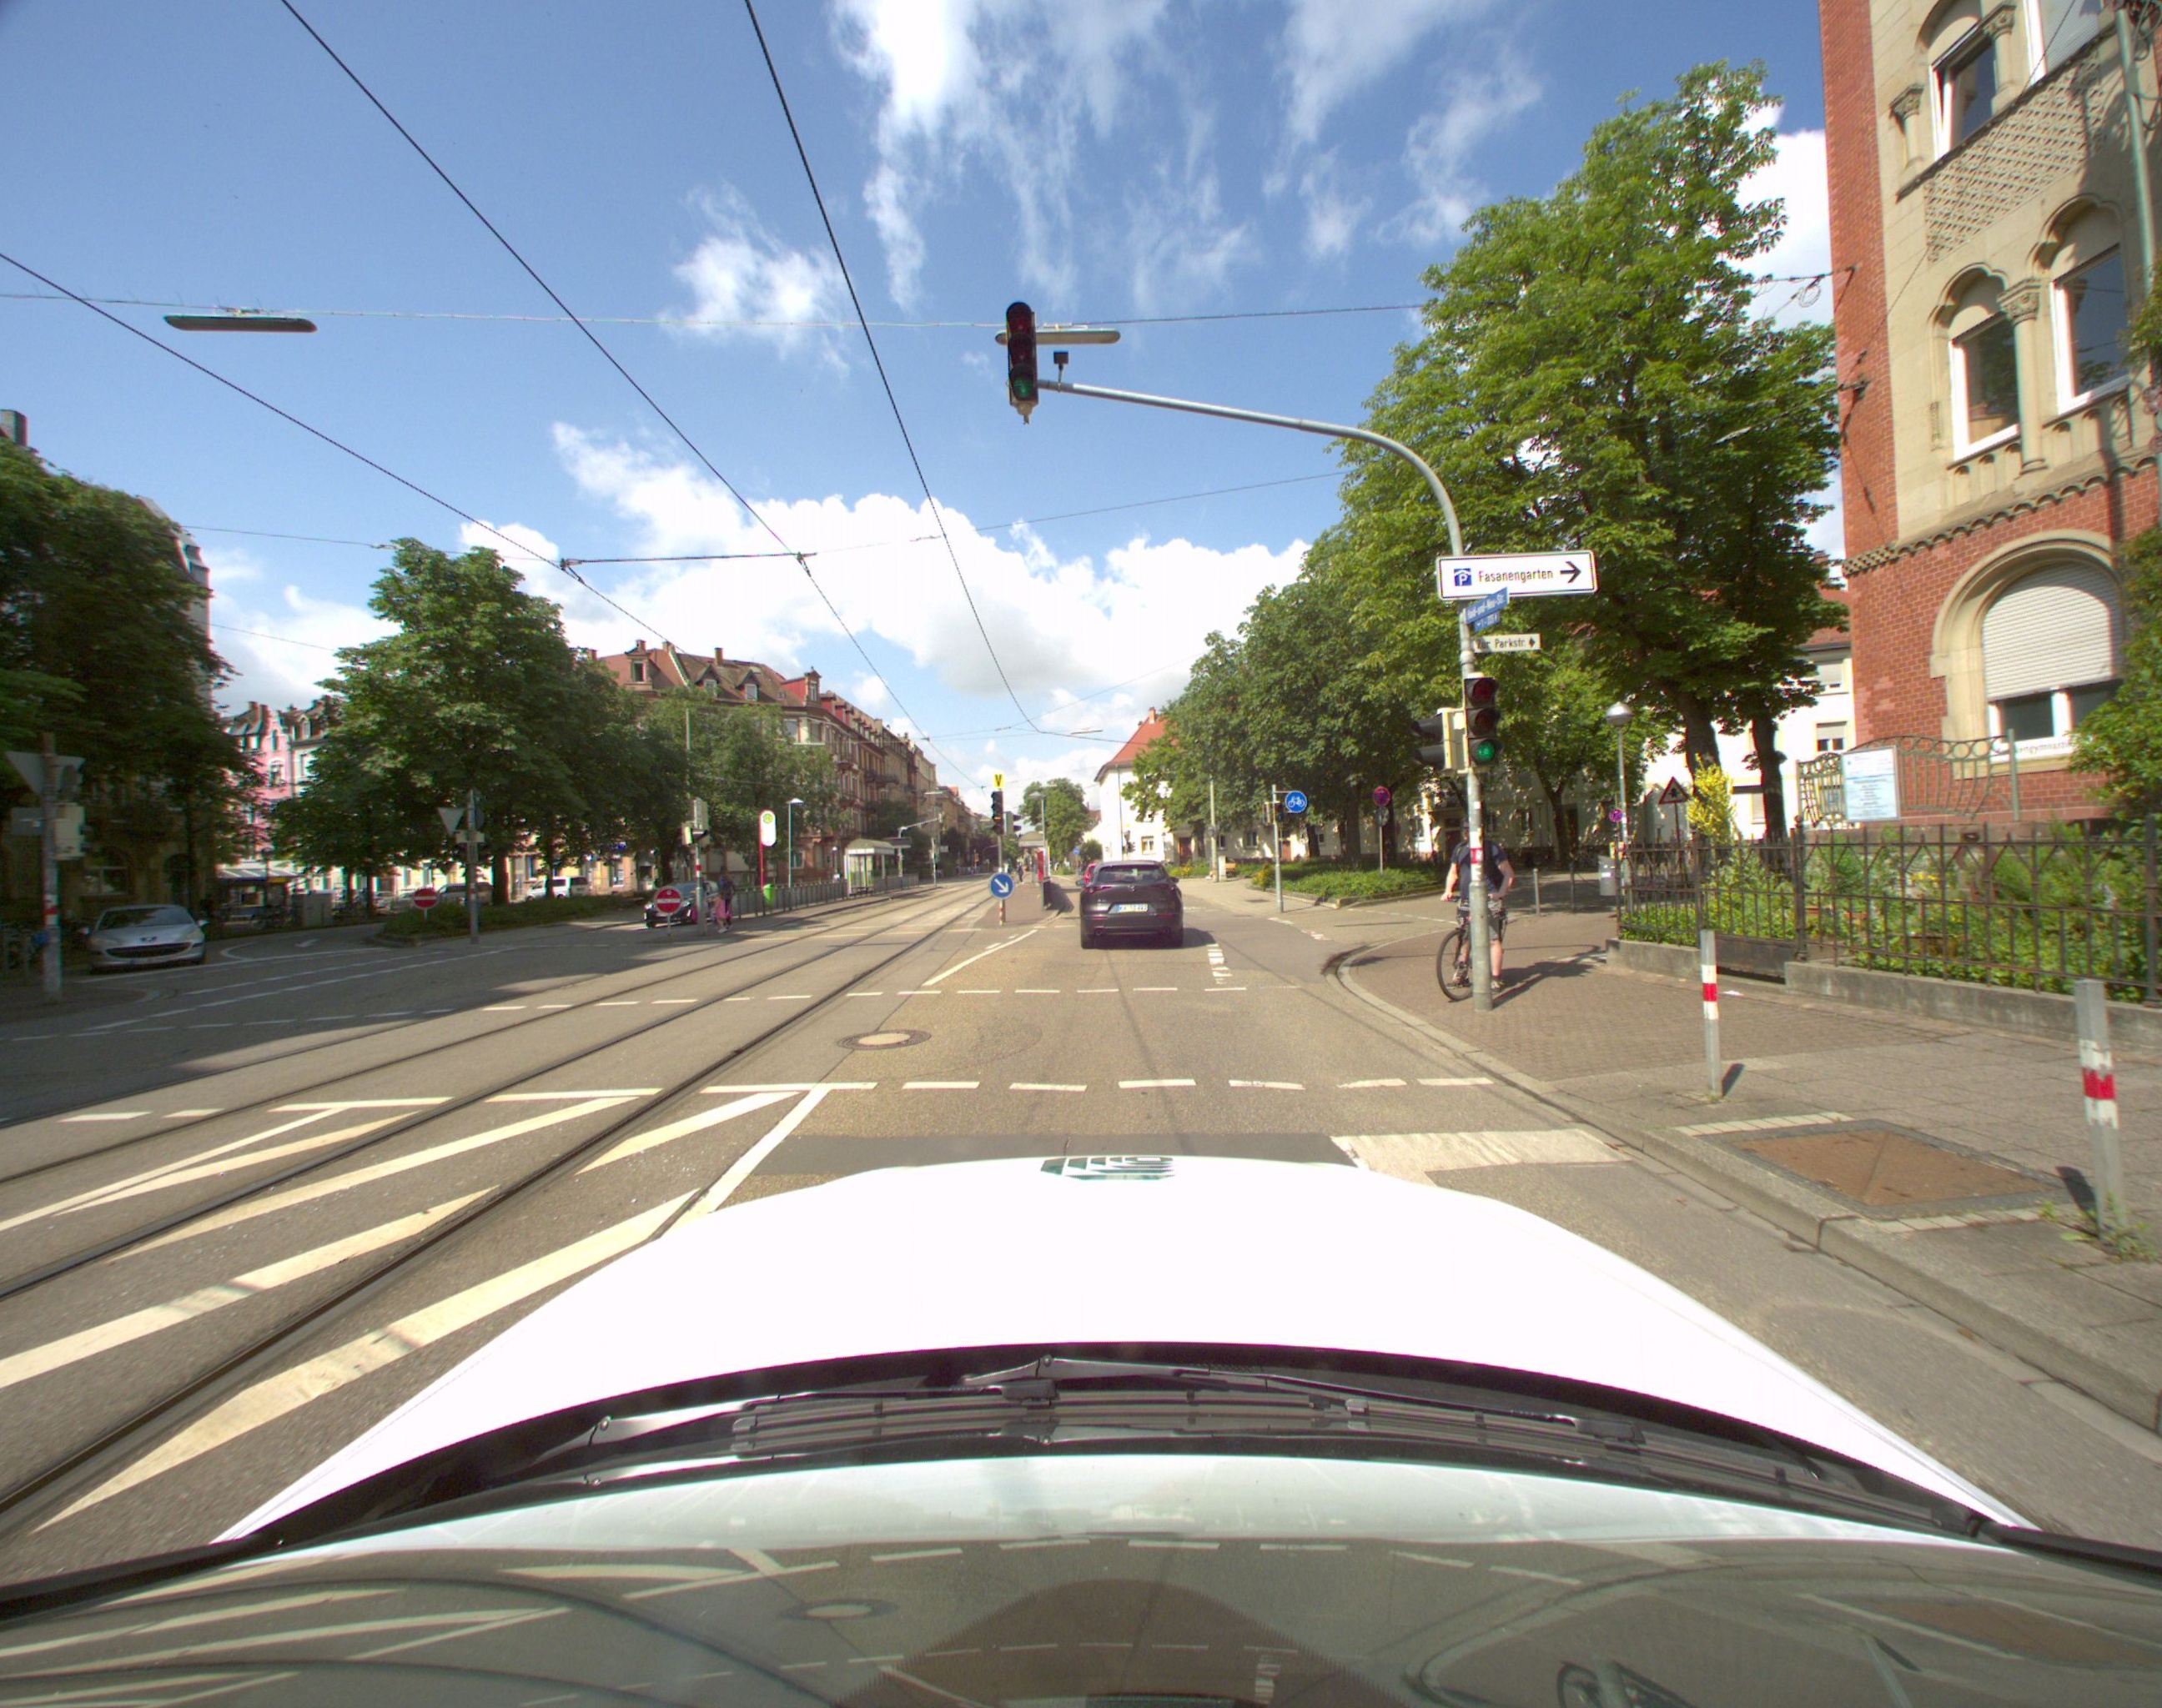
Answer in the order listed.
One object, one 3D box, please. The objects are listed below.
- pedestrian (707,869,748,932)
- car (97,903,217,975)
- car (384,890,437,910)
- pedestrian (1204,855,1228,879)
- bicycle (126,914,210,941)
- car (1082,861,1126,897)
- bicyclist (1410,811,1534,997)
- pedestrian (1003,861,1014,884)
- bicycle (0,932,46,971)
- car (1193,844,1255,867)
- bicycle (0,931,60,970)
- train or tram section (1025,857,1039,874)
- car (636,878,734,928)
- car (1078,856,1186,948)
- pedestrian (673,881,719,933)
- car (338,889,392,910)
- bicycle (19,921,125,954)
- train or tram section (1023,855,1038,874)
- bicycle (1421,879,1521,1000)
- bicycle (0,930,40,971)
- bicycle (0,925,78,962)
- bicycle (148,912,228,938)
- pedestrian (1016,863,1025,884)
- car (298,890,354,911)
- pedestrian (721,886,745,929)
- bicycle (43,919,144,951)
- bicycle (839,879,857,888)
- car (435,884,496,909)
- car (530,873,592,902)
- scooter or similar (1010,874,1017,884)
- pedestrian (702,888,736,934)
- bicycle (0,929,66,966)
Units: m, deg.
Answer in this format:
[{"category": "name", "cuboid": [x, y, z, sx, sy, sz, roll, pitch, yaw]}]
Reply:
[{"category": "pedestrian", "cuboid": [-9.235, 1.194, 21.288, 0.727, 1.565, 0.797, -2, -1, -7]}, {"category": "car", "cuboid": [-21.935, 1.932, 19.355, 3.823, 1.420, 1.732, -3, -1, 41]}, {"category": "car", "cuboid": [-52.909, 3.640, 64.262, 3.652, 1.393, 1.501, -3, -1, 18]}, {"category": "pedestrian", "cuboid": [7.826, 0.744, 47.286, 1.191, 1.269, 0.556, -4, -1, -8]}, {"category": "bicycle", "cuboid": [-34.711, 2.786, 30.991, 2.037, 0.898, 0.566, -1, -2, -30]}, {"category": "car", "cuboid": [0.949, 1.039, 35.191, 1.770, 1.464, 3.841, -1, -1, 0]}, {"category": "bicyclist", "cuboid": [4.061, 0.490, 8.491, 0.736, 1.819, 0.814, -2, -1, -25]}, {"category": "pedestrian", "cuboid": [-5.524, 1.409, 62.038, 0.769, 1.675, 0.667, -2, -1, -4]}, {"category": "bicycle", "cuboid": [-26.197, 2.357, 19.277, 0.505, 0.882, 2.043, -3, -2, 44]}, {"category": "car", "cuboid": [10.625, 0.118, 60.726, 4.118, 1.510, 1.863, -3, 1, 39]}, {"category": "bicycle", "cuboid": [-27.002, 2.425, 20.197, 0.505, 0.882, 2.043, -3, -2, 44]}, {"category": "train or tram section", "cuboid": [-11.971, 2.919, 199.318, 2.990, 3.984, 13.793, -2, -1, -3]}, {"category": "car", "cuboid": [-13.206, 1.590, 27.362, 1.620, 1.387, 3.433, -4, 0, -2]}, {"category": "car", "cuboid": [0.902, 0.826, 15.416, 1.775, 1.514, 4.001, 0, -1, 2]}, {"category": "pedestrian", "cuboid": [-10.320, 1.403, 21.847, 0.825, 1.303, 0.715, -4, -1, -7]}, {"category": "car", "cuboid": [-58.039, 3.717, 66.004, 3.606, 1.494, 1.638, -3, -1, 18]}, {"category": "bicycle", "cuboid": [-32.031, 2.635, 25.900, 2.040, 0.898, 0.540, 0, -2, -37]}, {"category": "train or tram section", "cuboid": [-11.386, 2.501, 185.521, 2.990, 3.984, 13.793, -2, -1, -3]}, {"category": "bicycle", "cuboid": [4.119, 0.839, 8.526, 0.385, 1.035, 1.857, -3, 0, 42]}, {"category": "bicycle", "cuboid": [-25.202, 2.240, 18.393, 0.516, 0.882, 2.043, -3, -2, 44]}, {"category": "bicycle", "cuboid": [-29.156, 2.470, 22.331, 0.539, 0.882, 2.043, -3, -2, 44]}, {"category": "bicycle", "cuboid": [-34.918, 2.769, 31.875, 2.037, 0.898, 0.566, -1, -2, -30]}, {"category": "pedestrian", "cuboid": [-4.552, 1.433, 61.326, 0.666, 1.546, 0.580, -2, -1, -4]}, {"category": "car", "cuboid": [-62.581, 3.816, 67.490, 3.875, 1.555, 1.726, -3, -1, 19]}, {"category": "pedestrian", "cuboid": [-9.357, 1.427, 21.910, 0.437, 1.108, 0.422, -4, -1, -7]}, {"category": "bicycle", "cuboid": [-32.659, 2.666, 26.982, 2.040, 0.898, 0.566, 0, -2, -36]}, {"category": "bicycle", "cuboid": [-21.284, 2.694, 74.545, 0.381, 0.747, 1.722, -3, -1, 33]}, {"category": "car", "cuboid": [-47.570, 3.274, 62.957, 3.895, 1.663, 1.926, -3, -1, 20]}, {"category": "car", "cuboid": [-38.224, 2.454, 59.871, 3.901, 1.988, 1.866, -2, -1, 21]}, {"category": "scooter or similar", "cuboid": [-5.078, 1.853, 61.302, 0.413, 0.721, 0.486, -2, -1, -3]}, {"category": "pedestrian", "cuboid": [-9.207, 1.447, 20.739, 0.640, 1.114, 0.442, -2, -1, -7]}, {"category": "bicycle", "cuboid": [-27.981, 2.450, 21.107, 0.505, 0.882, 2.043, -3, -2, 44]}]
